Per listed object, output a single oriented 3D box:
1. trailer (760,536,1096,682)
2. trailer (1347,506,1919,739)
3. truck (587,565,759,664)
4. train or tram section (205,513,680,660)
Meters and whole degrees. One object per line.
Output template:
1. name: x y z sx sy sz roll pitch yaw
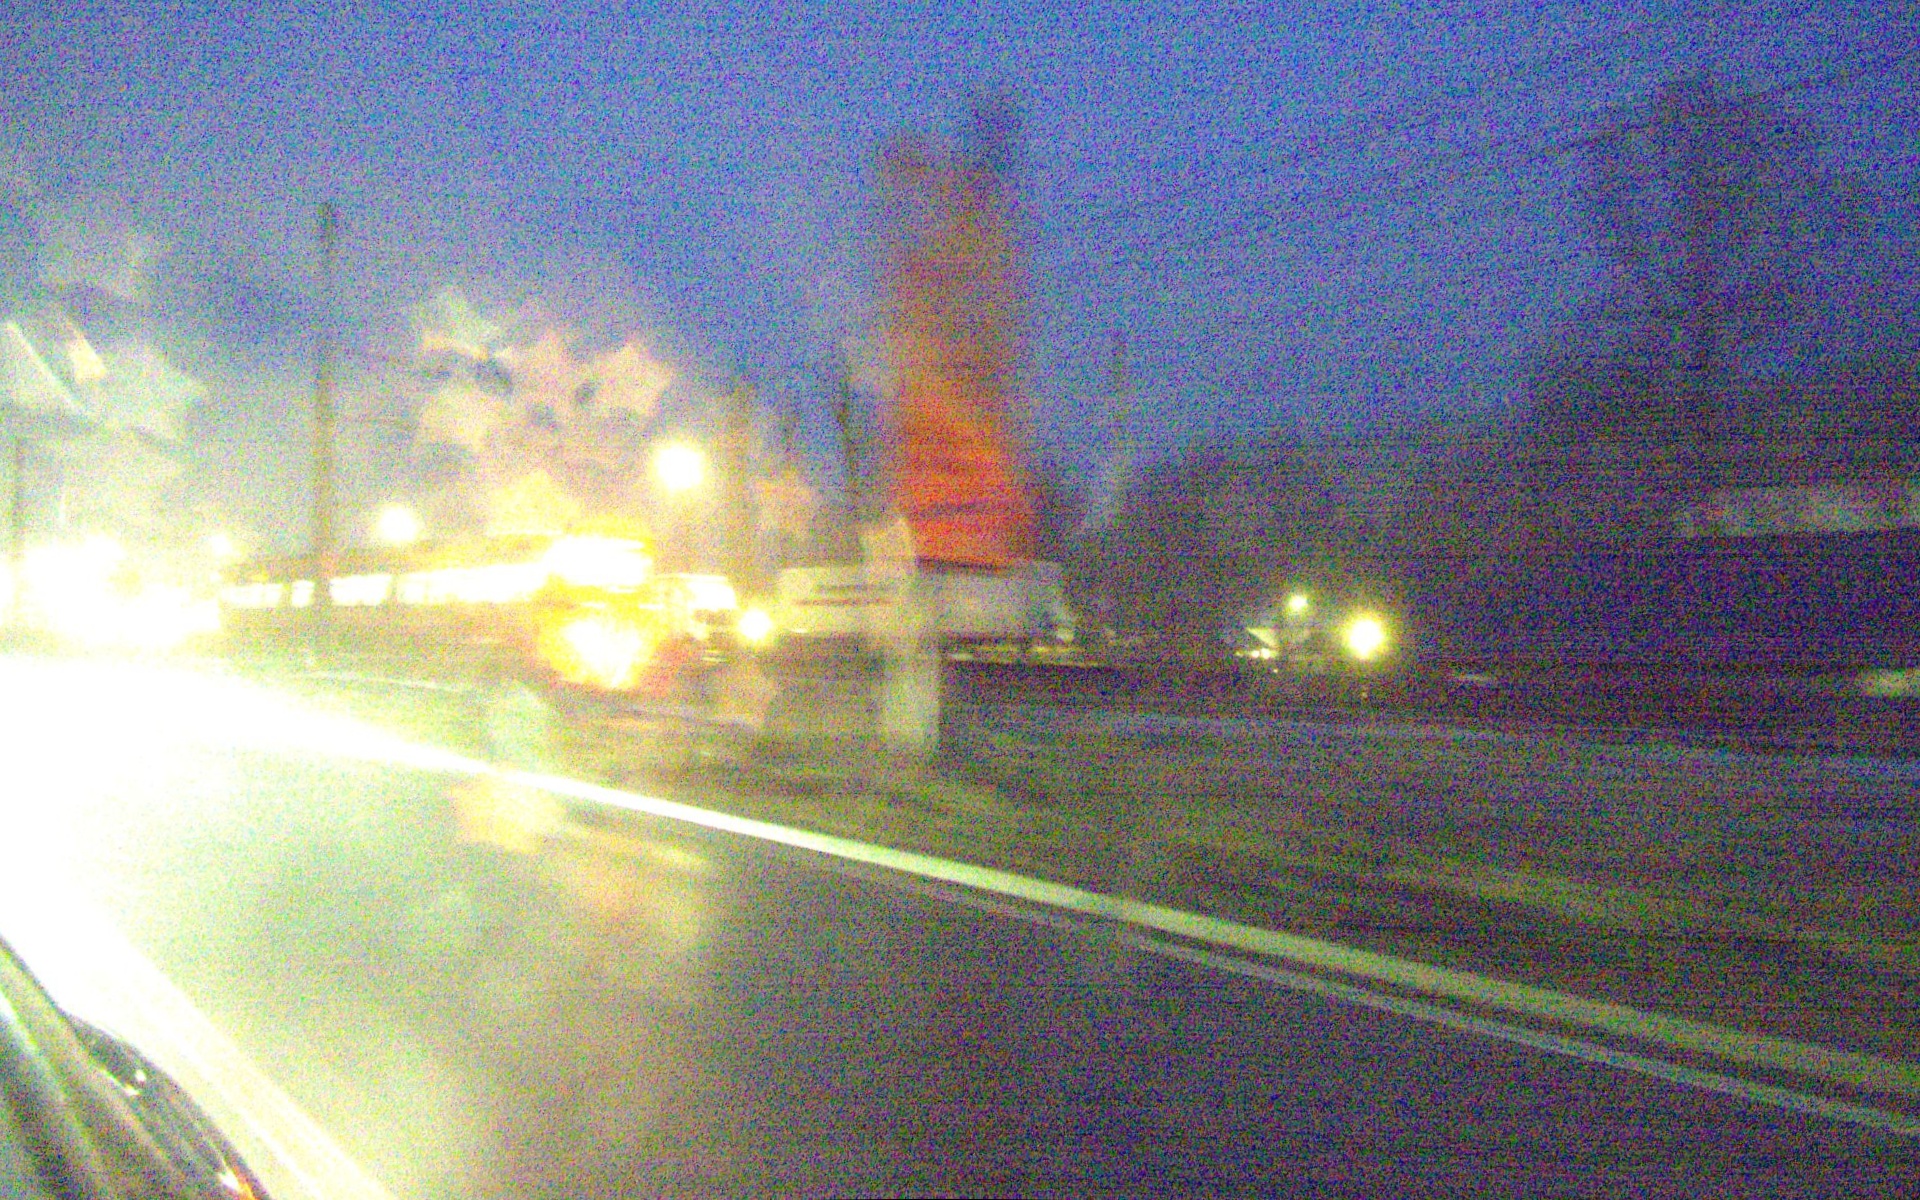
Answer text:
1. trailer: -1.853 0.305 41.230 14.824 5.050 3.931 0 1 40
2. trailer: 17.688 0.432 23.925 15.504 4.644 3.931 0 1 40
3. truck: -14.982 0.676 52.206 10.205 4.644 3.404 0 1 40
4. train or tram section: -22.848 -0.274 39.606 37.122 3.843 2.669 0 1 41
